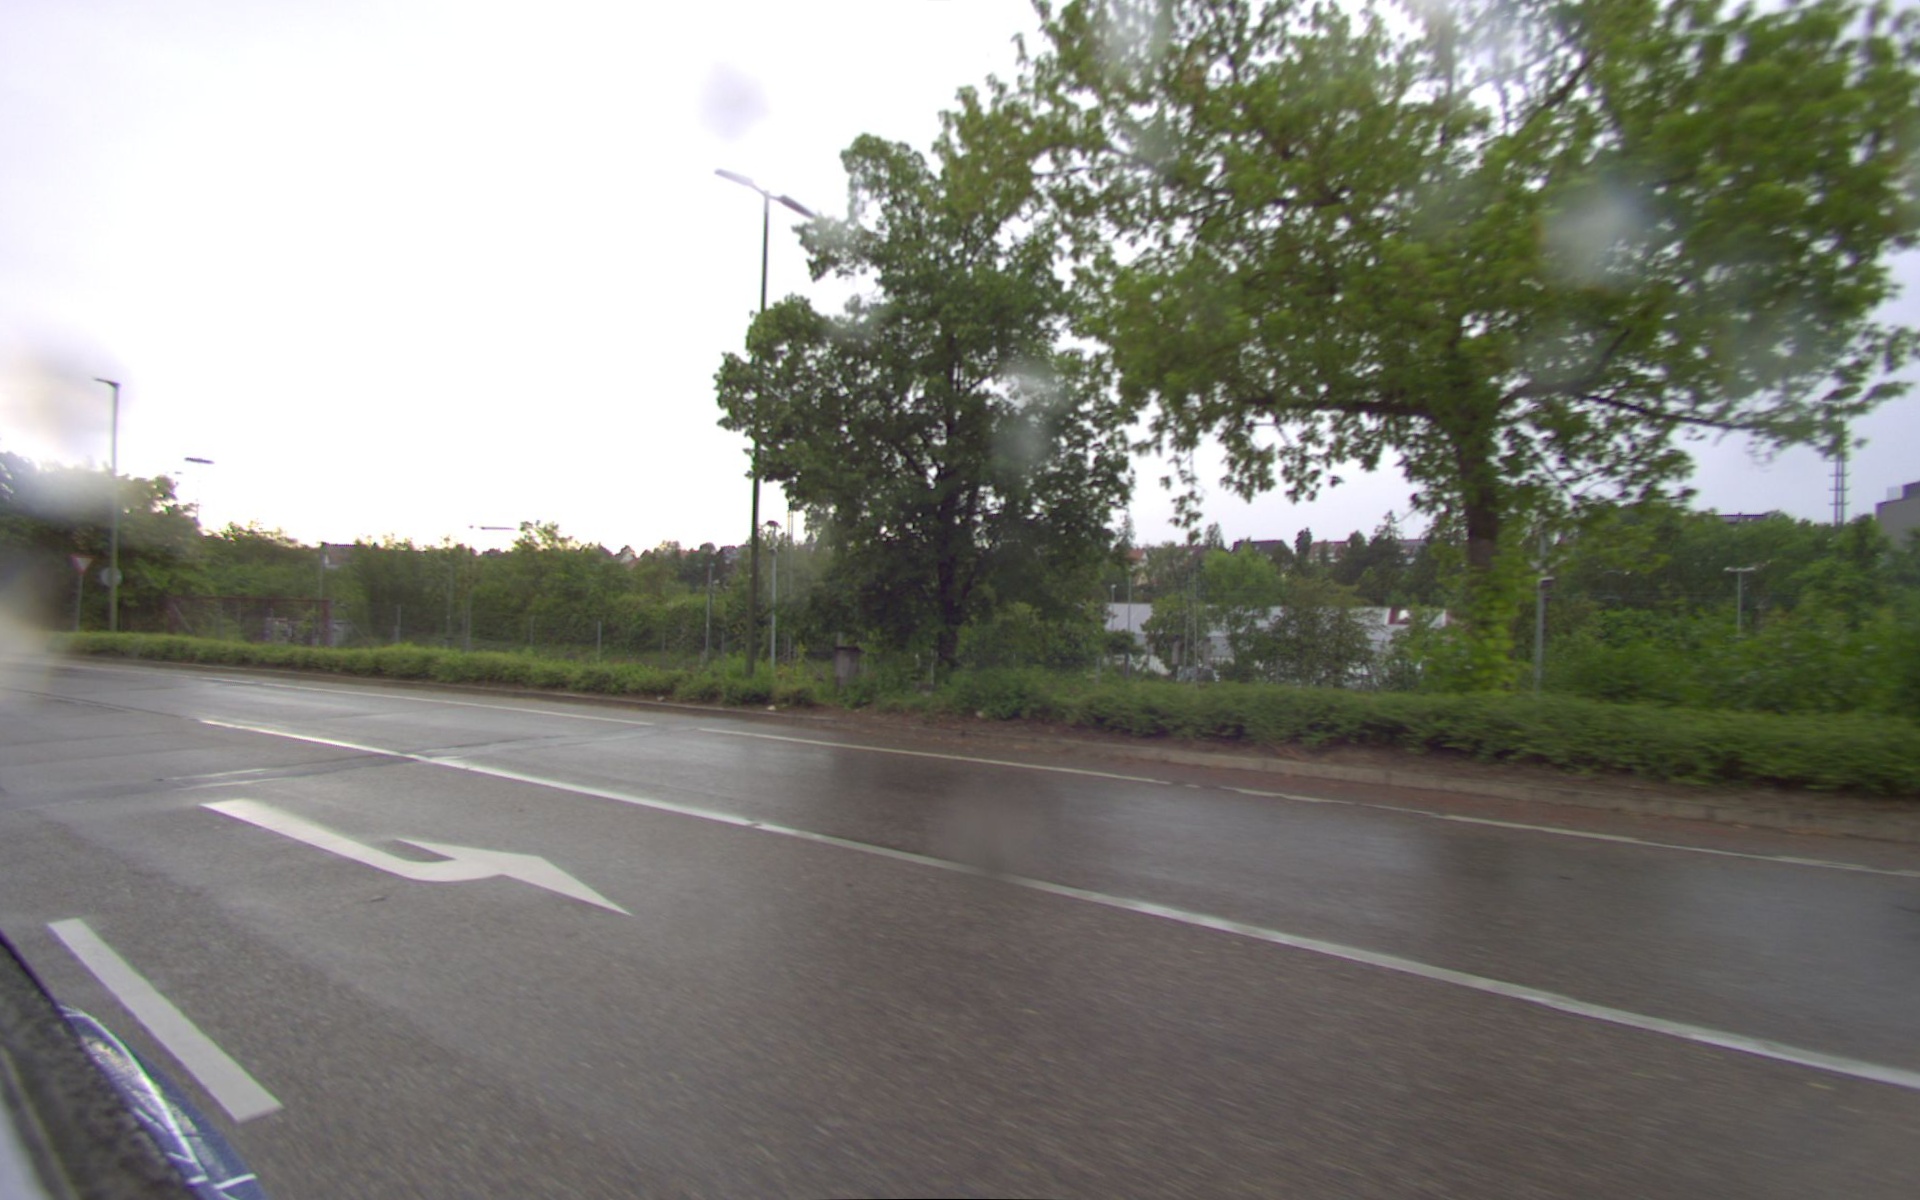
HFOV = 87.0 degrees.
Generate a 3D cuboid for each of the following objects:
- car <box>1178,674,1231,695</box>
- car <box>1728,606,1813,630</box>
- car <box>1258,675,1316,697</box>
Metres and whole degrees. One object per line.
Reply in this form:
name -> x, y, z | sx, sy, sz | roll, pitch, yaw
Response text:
car -> 18.174, 6.277, 75.206 | 3.557, 1.420, 1.783 | 0, -4, 28
car -> 49.406, 1.110, 61.767 | 3.996, 1.420, 1.776 | -1, -1, 39
car -> 23.530, 6.172, 72.812 | 3.970, 1.420, 1.788 | 0, -4, 20
